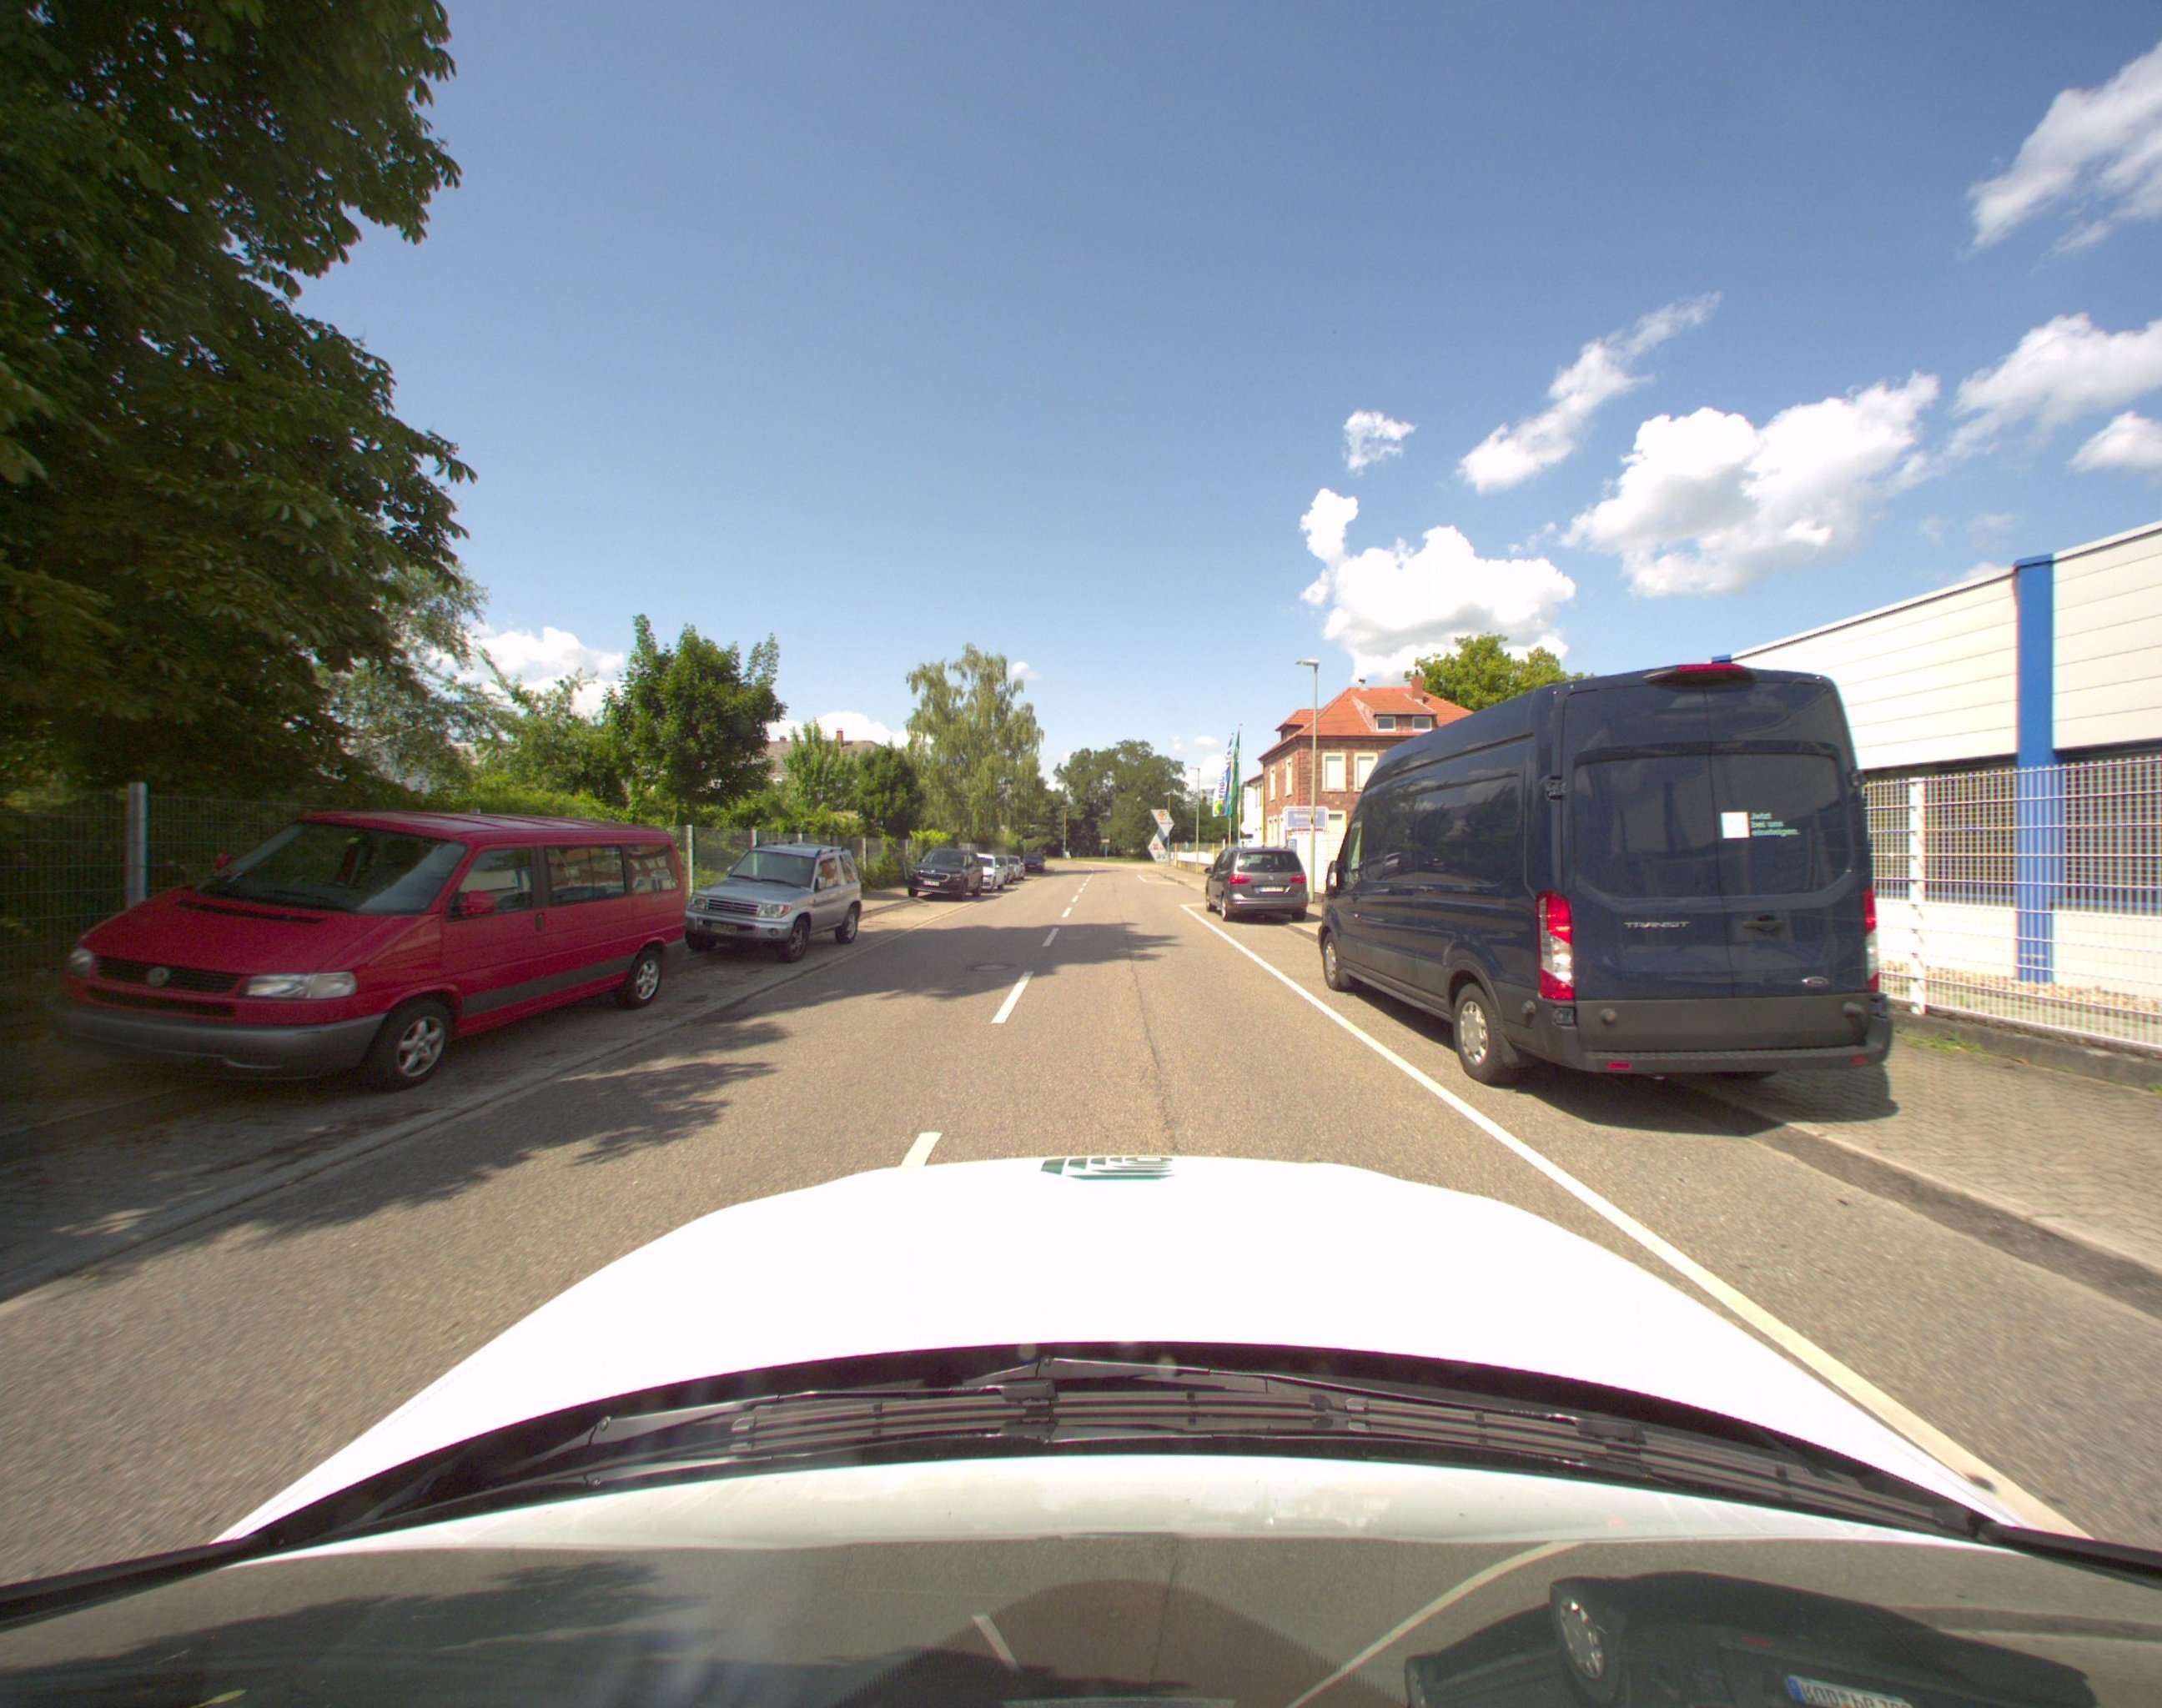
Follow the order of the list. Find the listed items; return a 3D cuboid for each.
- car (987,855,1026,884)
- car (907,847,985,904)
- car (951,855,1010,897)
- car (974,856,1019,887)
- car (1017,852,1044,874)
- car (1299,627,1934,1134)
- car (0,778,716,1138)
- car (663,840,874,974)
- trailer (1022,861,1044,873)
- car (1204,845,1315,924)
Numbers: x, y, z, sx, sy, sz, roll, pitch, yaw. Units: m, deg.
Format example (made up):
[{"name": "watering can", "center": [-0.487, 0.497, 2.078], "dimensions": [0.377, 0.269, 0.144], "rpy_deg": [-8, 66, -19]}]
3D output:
[{"name": "car", "center": [-4.366, 0.893, 48.503], "dimensions": [1.718, 1.477, 4.632], "rpy_deg": [4, 0, 1]}, {"name": "car", "center": [-4.516, 0.675, 27.938], "dimensions": [1.604, 1.745, 4.640], "rpy_deg": [2, 0, 3]}, {"name": "car", "center": [-4.141, 0.869, 34.267], "dimensions": [1.693, 1.595, 4.790], "rpy_deg": [0, 0, 2]}, {"name": "car", "center": [-4.412, 0.879, 43.159], "dimensions": [1.788, 1.527, 4.661], "rpy_deg": [0, 0, 2]}, {"name": "car", "center": [-3.892, 0.711, 62.880], "dimensions": [1.676, 1.512, 4.157], "rpy_deg": [4, -1, 1]}, {"name": "car", "center": [3.736, 0.139, 7.511], "dimensions": [1.930, 2.748, 6.156], "rpy_deg": [0, 0, 1]}, {"name": "car", "center": [-5.482, 0.618, 7.288], "dimensions": [1.891, 1.954, 4.959], "rpy_deg": [5, 0, 2]}, {"name": "car", "center": [-4.934, 0.740, 13.491], "dimensions": [1.692, 1.802, 3.830], "rpy_deg": [4, 0, 4]}, {"name": "trailer", "center": [-3.918, 1.036, 66.897], "dimensions": [1.458, 0.851, 2.468], "rpy_deg": [4, 0, 2]}, {"name": "car", "center": [4.138, 0.640, 19.619], "dimensions": [1.818, 1.664, 4.558], "rpy_deg": [-1, 0, 2]}]
